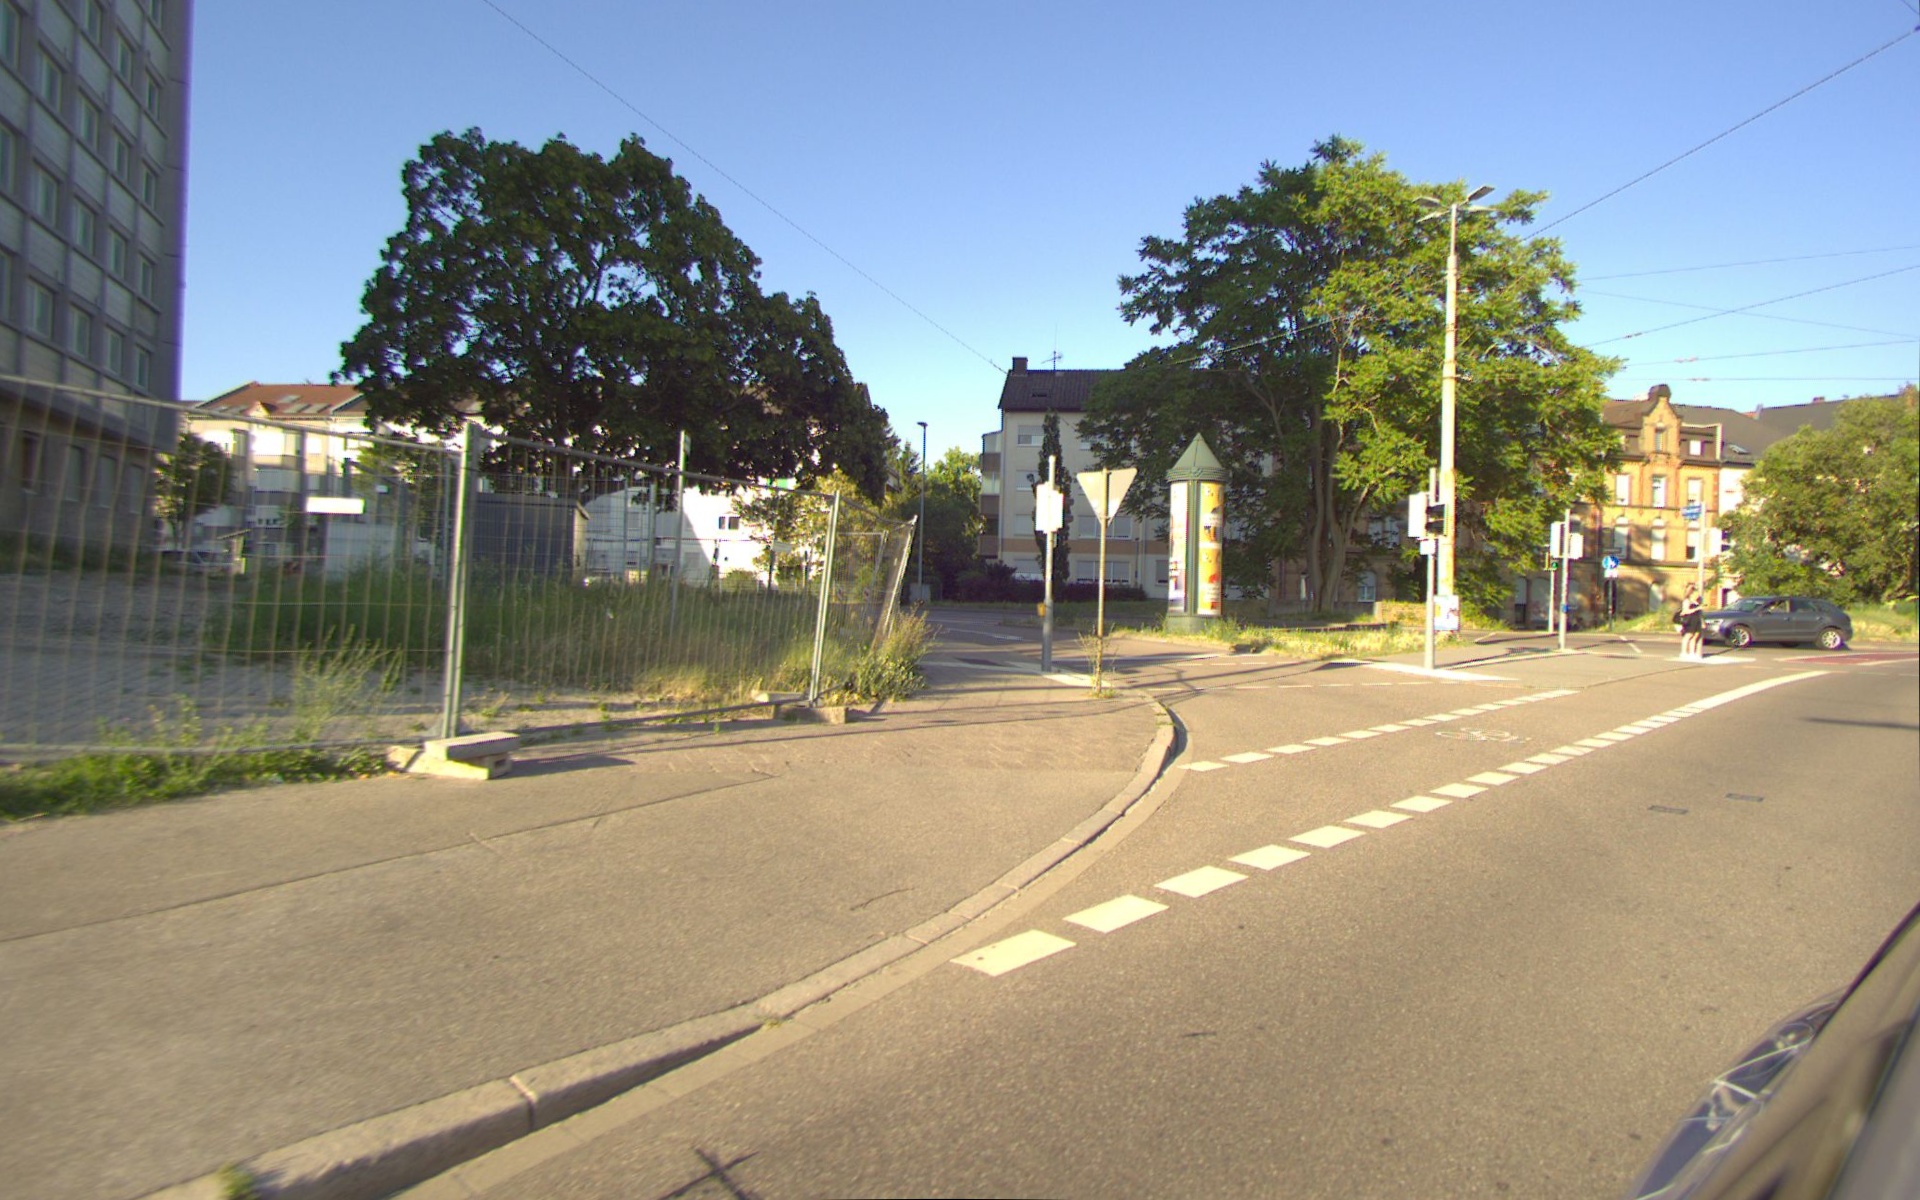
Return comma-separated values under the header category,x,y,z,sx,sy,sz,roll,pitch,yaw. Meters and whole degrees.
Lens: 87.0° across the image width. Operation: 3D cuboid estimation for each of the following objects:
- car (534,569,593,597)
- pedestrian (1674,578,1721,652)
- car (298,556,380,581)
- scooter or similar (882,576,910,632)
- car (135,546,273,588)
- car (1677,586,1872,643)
category,x,y,z,sx,sy,sz,roll,pitch,yaw
car,-22.428,-0.971,57.404,1.674,1.469,4.333,1,1,0
pedestrian,16.363,0.321,22.463,0.535,1.615,0.595,1,1,-7
car,-38.216,-1.941,62.312,4.262,1.469,1.701,1,1,10
scooter or similar,-1.530,0.084,24.039,0.384,1.291,1.297,0,1,-17
car,-28.375,-1.244,38.028,4.262,1.469,1.702,1,1,10
car,24.486,0.409,30.552,4.255,1.567,1.817,1,1,5
